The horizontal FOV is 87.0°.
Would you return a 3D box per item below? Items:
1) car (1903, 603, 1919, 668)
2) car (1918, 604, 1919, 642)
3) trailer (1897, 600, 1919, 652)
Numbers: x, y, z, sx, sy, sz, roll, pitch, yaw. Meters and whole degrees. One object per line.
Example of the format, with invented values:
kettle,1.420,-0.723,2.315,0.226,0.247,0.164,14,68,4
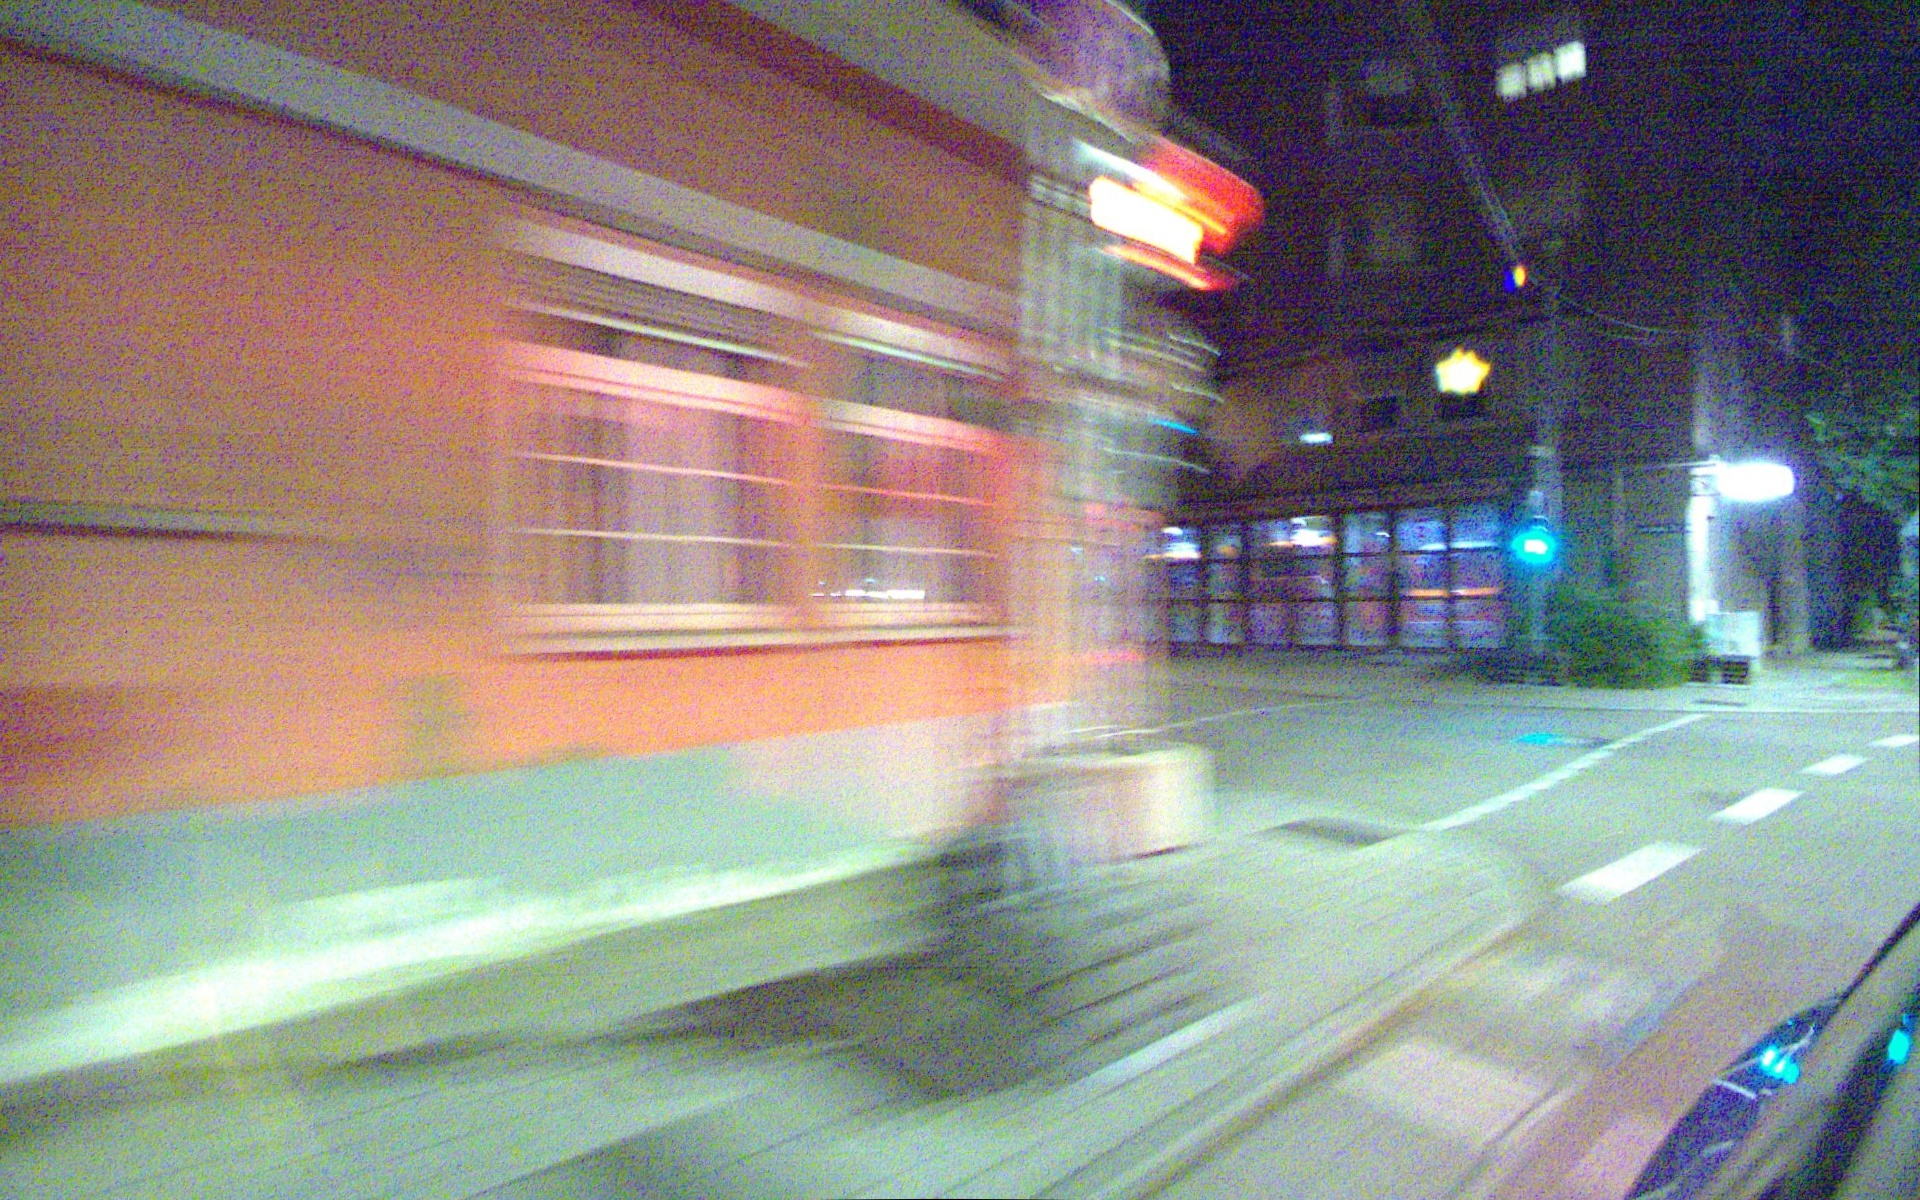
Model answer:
car,23.340,0.791,23.633,3.732,1.480,1.588,0,-2,-42
car,36.966,0.857,37.628,4.349,1.376,1.777,0,0,-44
trailer,29.643,0.740,30.509,3.668,1.514,1.603,0,-2,-41
